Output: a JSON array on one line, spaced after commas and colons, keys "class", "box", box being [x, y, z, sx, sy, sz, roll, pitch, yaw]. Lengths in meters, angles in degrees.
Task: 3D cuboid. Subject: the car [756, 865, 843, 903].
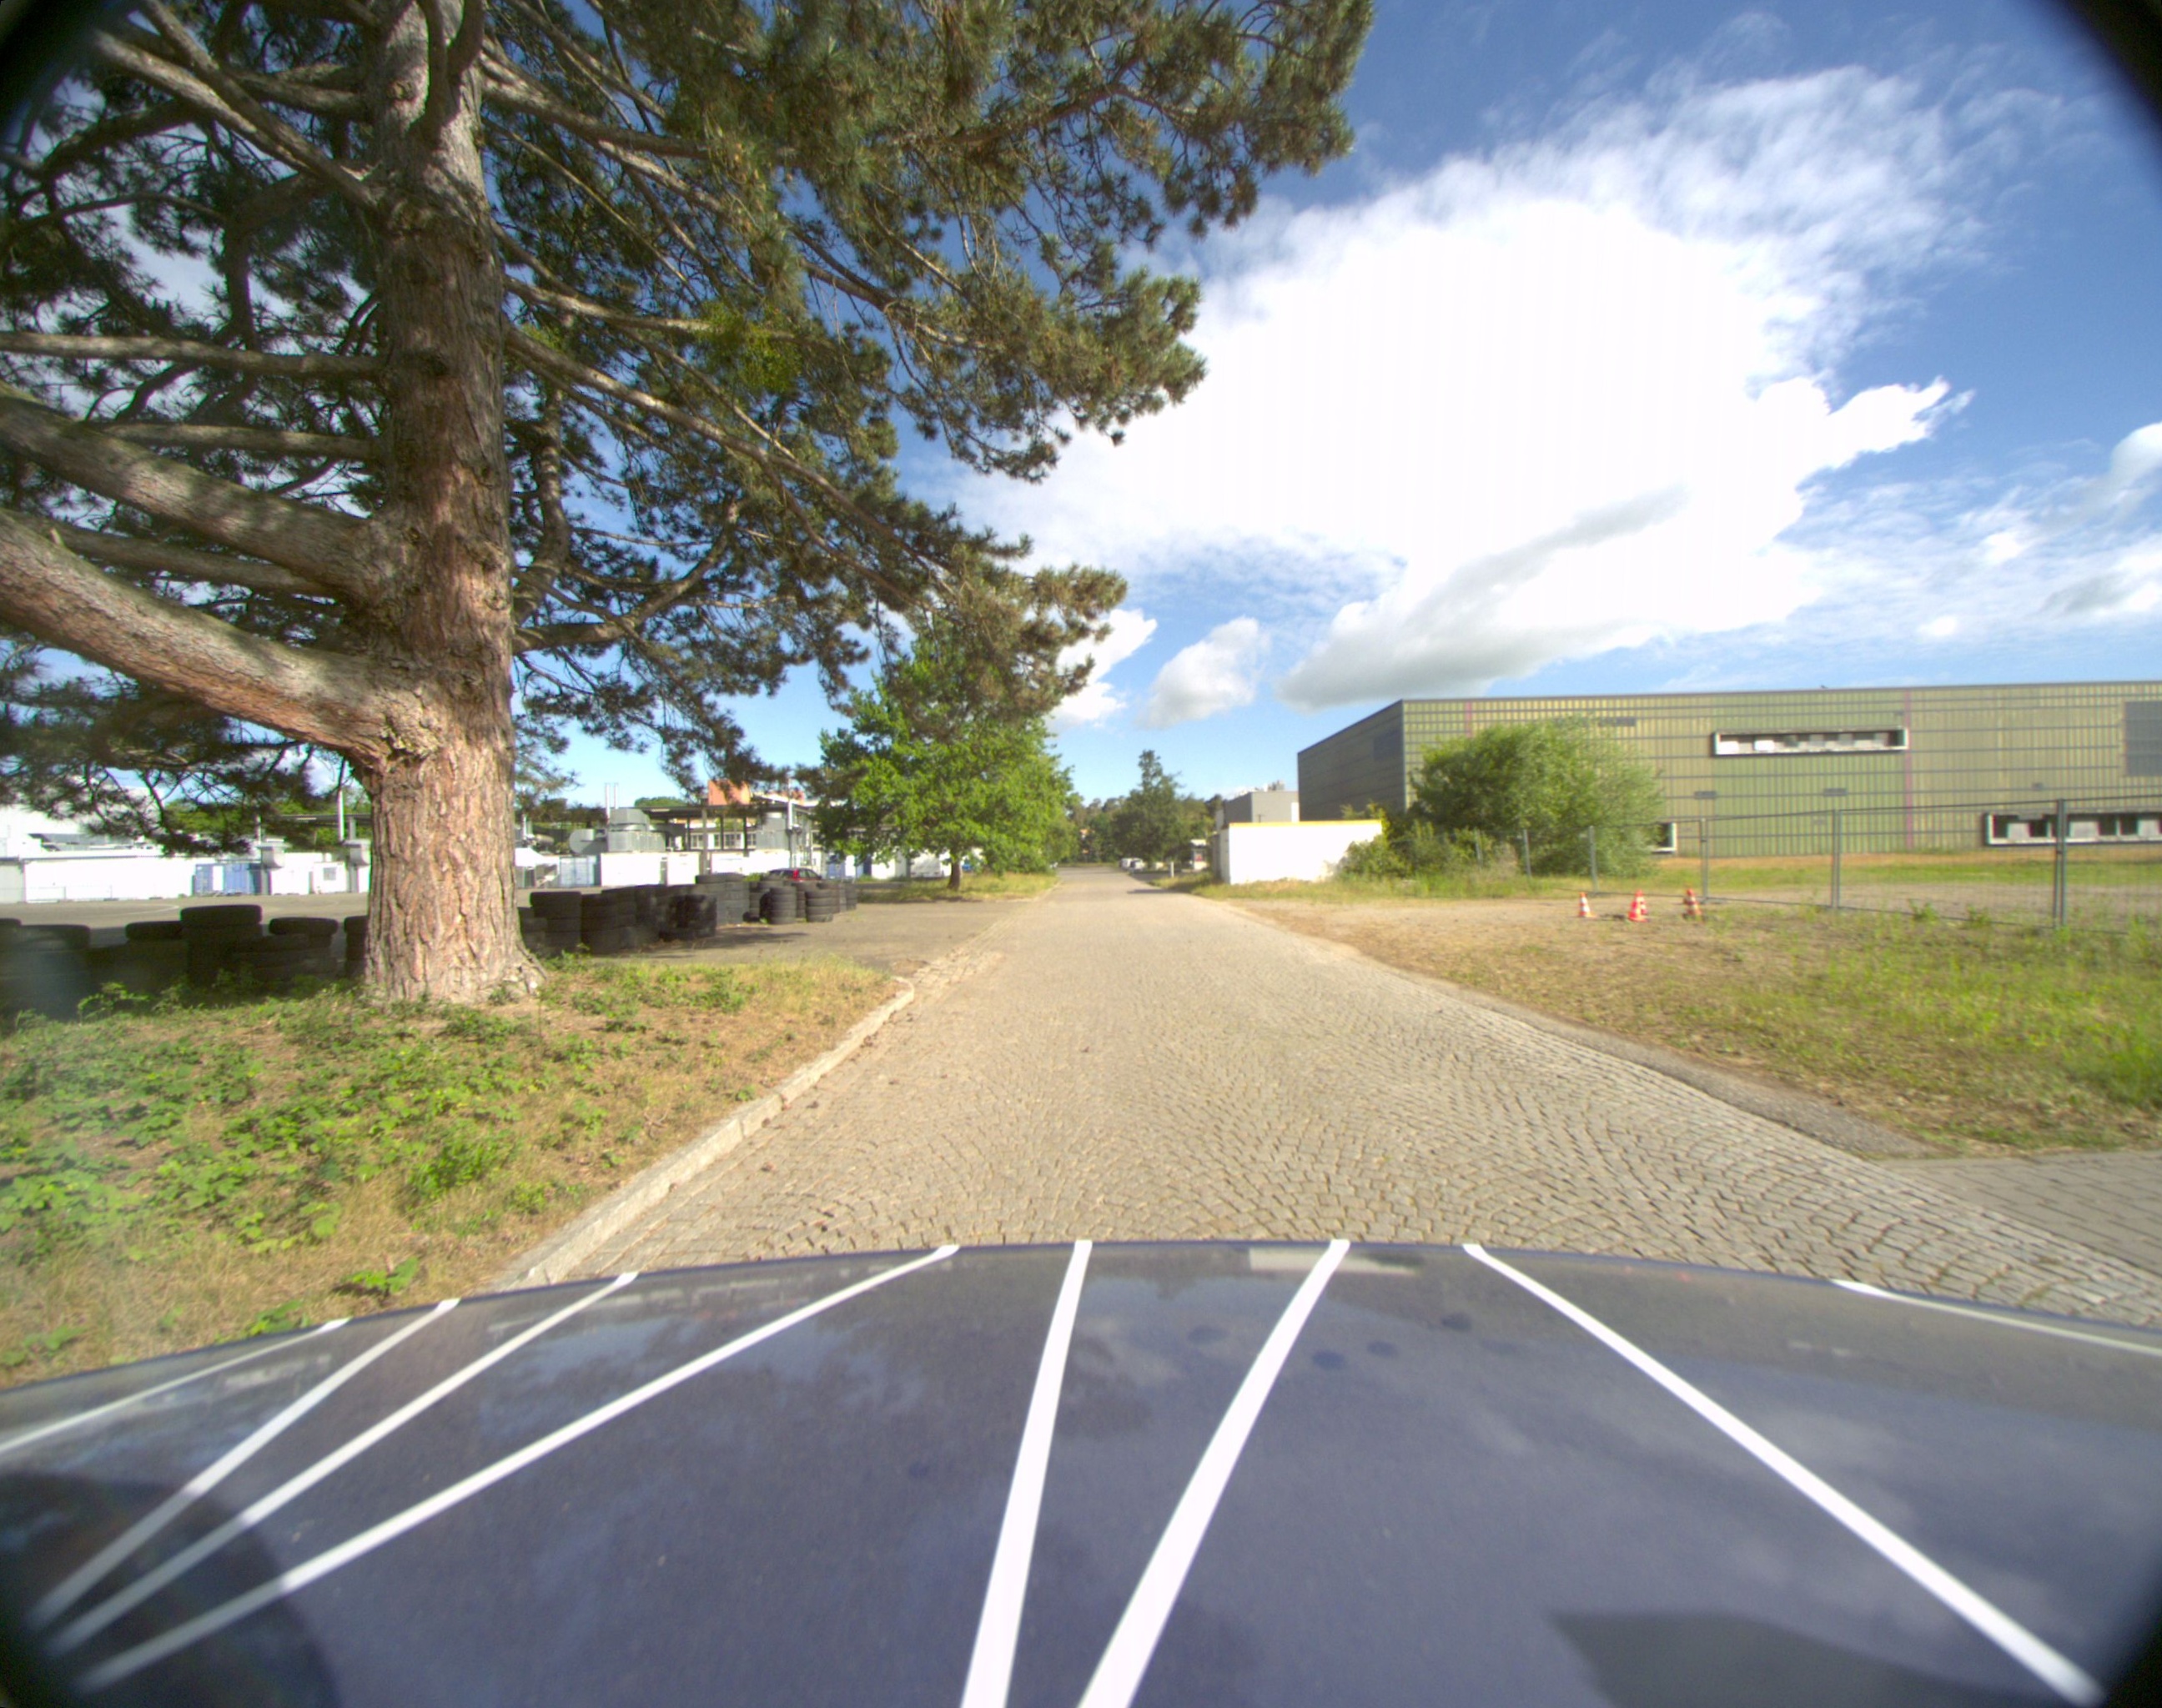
[{"class": "car", "box": [-11.851, 1.216, 32.273, 1.846, 1.440, 4.002, -1, 0, 7]}]

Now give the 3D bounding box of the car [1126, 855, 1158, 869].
[{"class": "car", "box": [7.853, 1.073, 97.427, 3.996, 1.678, 2.001, -1, 0, 4]}]

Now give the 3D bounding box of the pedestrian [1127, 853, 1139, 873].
[{"class": "pedestrian", "box": [4.893, 0.820, 70.944, 0.908, 1.796, 0.983, -1, 0, -6]}]
